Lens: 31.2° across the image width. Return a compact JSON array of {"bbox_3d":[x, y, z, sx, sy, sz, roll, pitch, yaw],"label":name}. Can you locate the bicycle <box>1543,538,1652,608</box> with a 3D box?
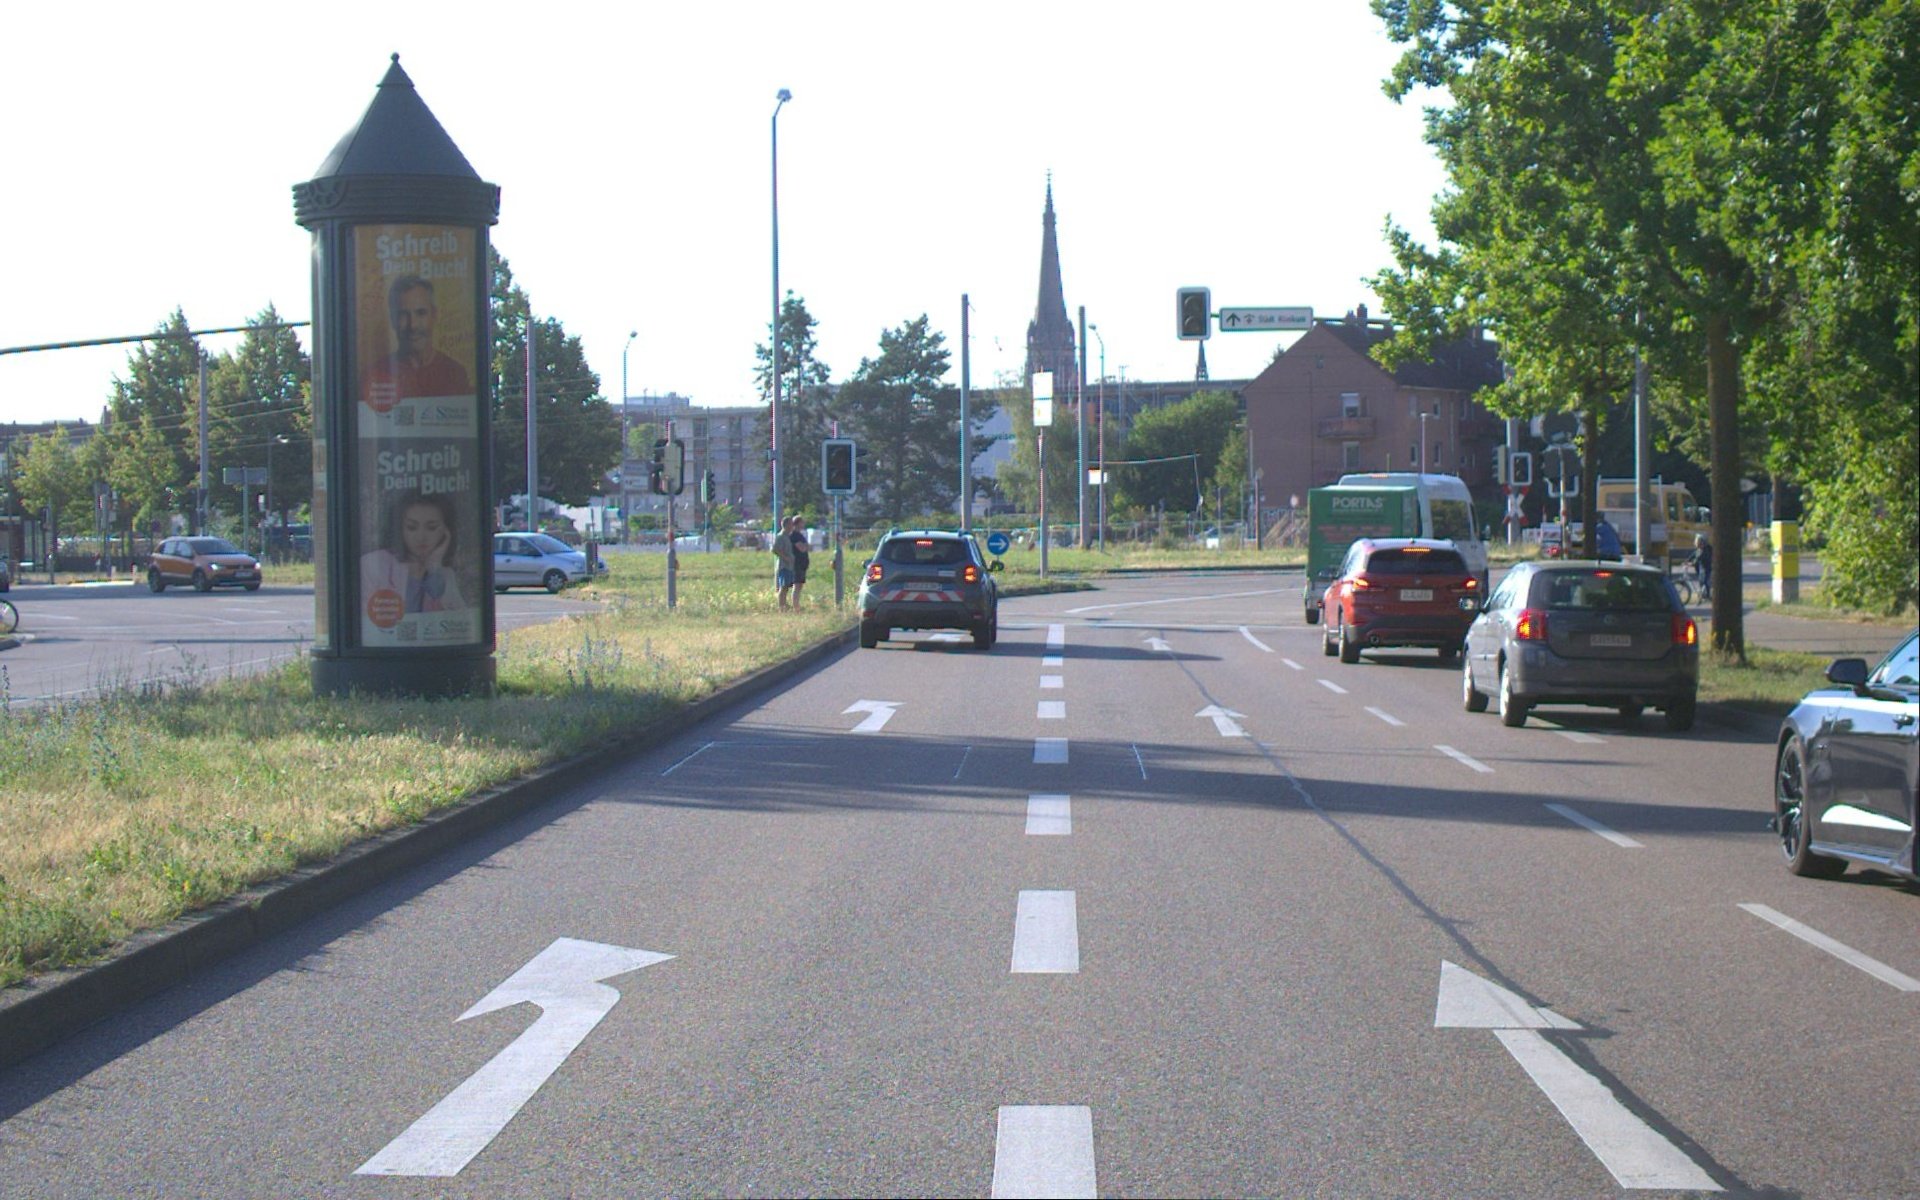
[{"bbox_3d":[11.923,-0.507,64.336,1.908,1.240,0.608,-1,1,38],"label":"bicycle"}]

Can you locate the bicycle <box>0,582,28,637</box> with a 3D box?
[{"bbox_3d":[-18.619,0.166,64.943,1.909,1.016,0.504,1,1,9],"label":"bicycle"}]

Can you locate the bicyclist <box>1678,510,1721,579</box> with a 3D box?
[{"bbox_3d":[14.116,-1.067,65.604,0.648,1.290,0.466,-2,2,-16],"label":"bicyclist"}]

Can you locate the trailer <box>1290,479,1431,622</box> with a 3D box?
[{"bbox_3d":[7.019,-0.882,60.039,2.091,2.392,3.499,1,1,12],"label":"trailer"}]

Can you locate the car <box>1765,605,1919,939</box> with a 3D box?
[{"bbox_3d":[4.828,0.689,14.881,1.854,1.333,4.624,0,0,3],"label":"car"}]

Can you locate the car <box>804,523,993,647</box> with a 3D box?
[{"bbox_3d":[-0.914,-0.238,48.537,1.905,1.654,4.001,-1,1,-12],"label":"car"}]

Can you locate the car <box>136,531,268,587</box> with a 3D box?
[{"bbox_3d":[-20.169,-1.102,91.376,1.903,1.439,4.139,-2,2,-36],"label":"car"}]

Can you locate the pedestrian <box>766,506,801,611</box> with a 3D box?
[{"bbox_3d":[-3.123,-0.737,60.788,0.486,1.837,0.719,0,1,6],"label":"pedestrian"}]

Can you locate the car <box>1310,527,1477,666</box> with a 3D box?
[{"bbox_3d":[5.633,-0.080,45.054,1.747,1.615,3.820,3,2,2],"label":"car"}]

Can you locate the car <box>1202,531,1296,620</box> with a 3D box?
[{"bbox_3d":[5.509,-0.501,65.894,1.602,1.604,4.000,-1,2,2],"label":"car"}]

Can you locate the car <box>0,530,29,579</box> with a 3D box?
[{"bbox_3d":[-28.926,-1.283,99.786,4.146,1.371,1.668,0,3,43],"label":"car"}]

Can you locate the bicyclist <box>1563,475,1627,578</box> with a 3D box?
[{"bbox_3d":[11.884,-1.380,64.332,0.938,1.892,0.600,-1,1,38],"label":"bicyclist"}]

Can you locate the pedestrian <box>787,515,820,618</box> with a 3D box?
[{"bbox_3d":[-2.811,-0.605,61.786,0.486,1.837,0.672,-1,1,5],"label":"pedestrian"}]

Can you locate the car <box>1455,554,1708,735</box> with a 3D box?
[{"bbox_3d":[5.581,0.357,31.278,1.747,1.468,3.820,-1,2,3],"label":"car"}]

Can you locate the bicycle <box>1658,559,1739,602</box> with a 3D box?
[{"bbox_3d":[14.097,-0.376,65.615,1.459,0.783,0.440,-2,1,-16],"label":"bicycle"}]

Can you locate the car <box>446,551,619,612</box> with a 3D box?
[{"bbox_3d":[-10.447,-0.457,84.026,3.750,1.429,1.834,0,2,18],"label":"car"}]

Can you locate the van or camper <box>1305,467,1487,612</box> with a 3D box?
[{"bbox_3d":[8.430,-1.188,65.880,2.286,2.620,6.578,1,2,18],"label":"van or camper"}]

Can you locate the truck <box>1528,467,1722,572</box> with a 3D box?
[{"bbox_3d":[16.901,-2.065,87.090,2.585,2.549,6.240,0,2,34],"label":"truck"}]
